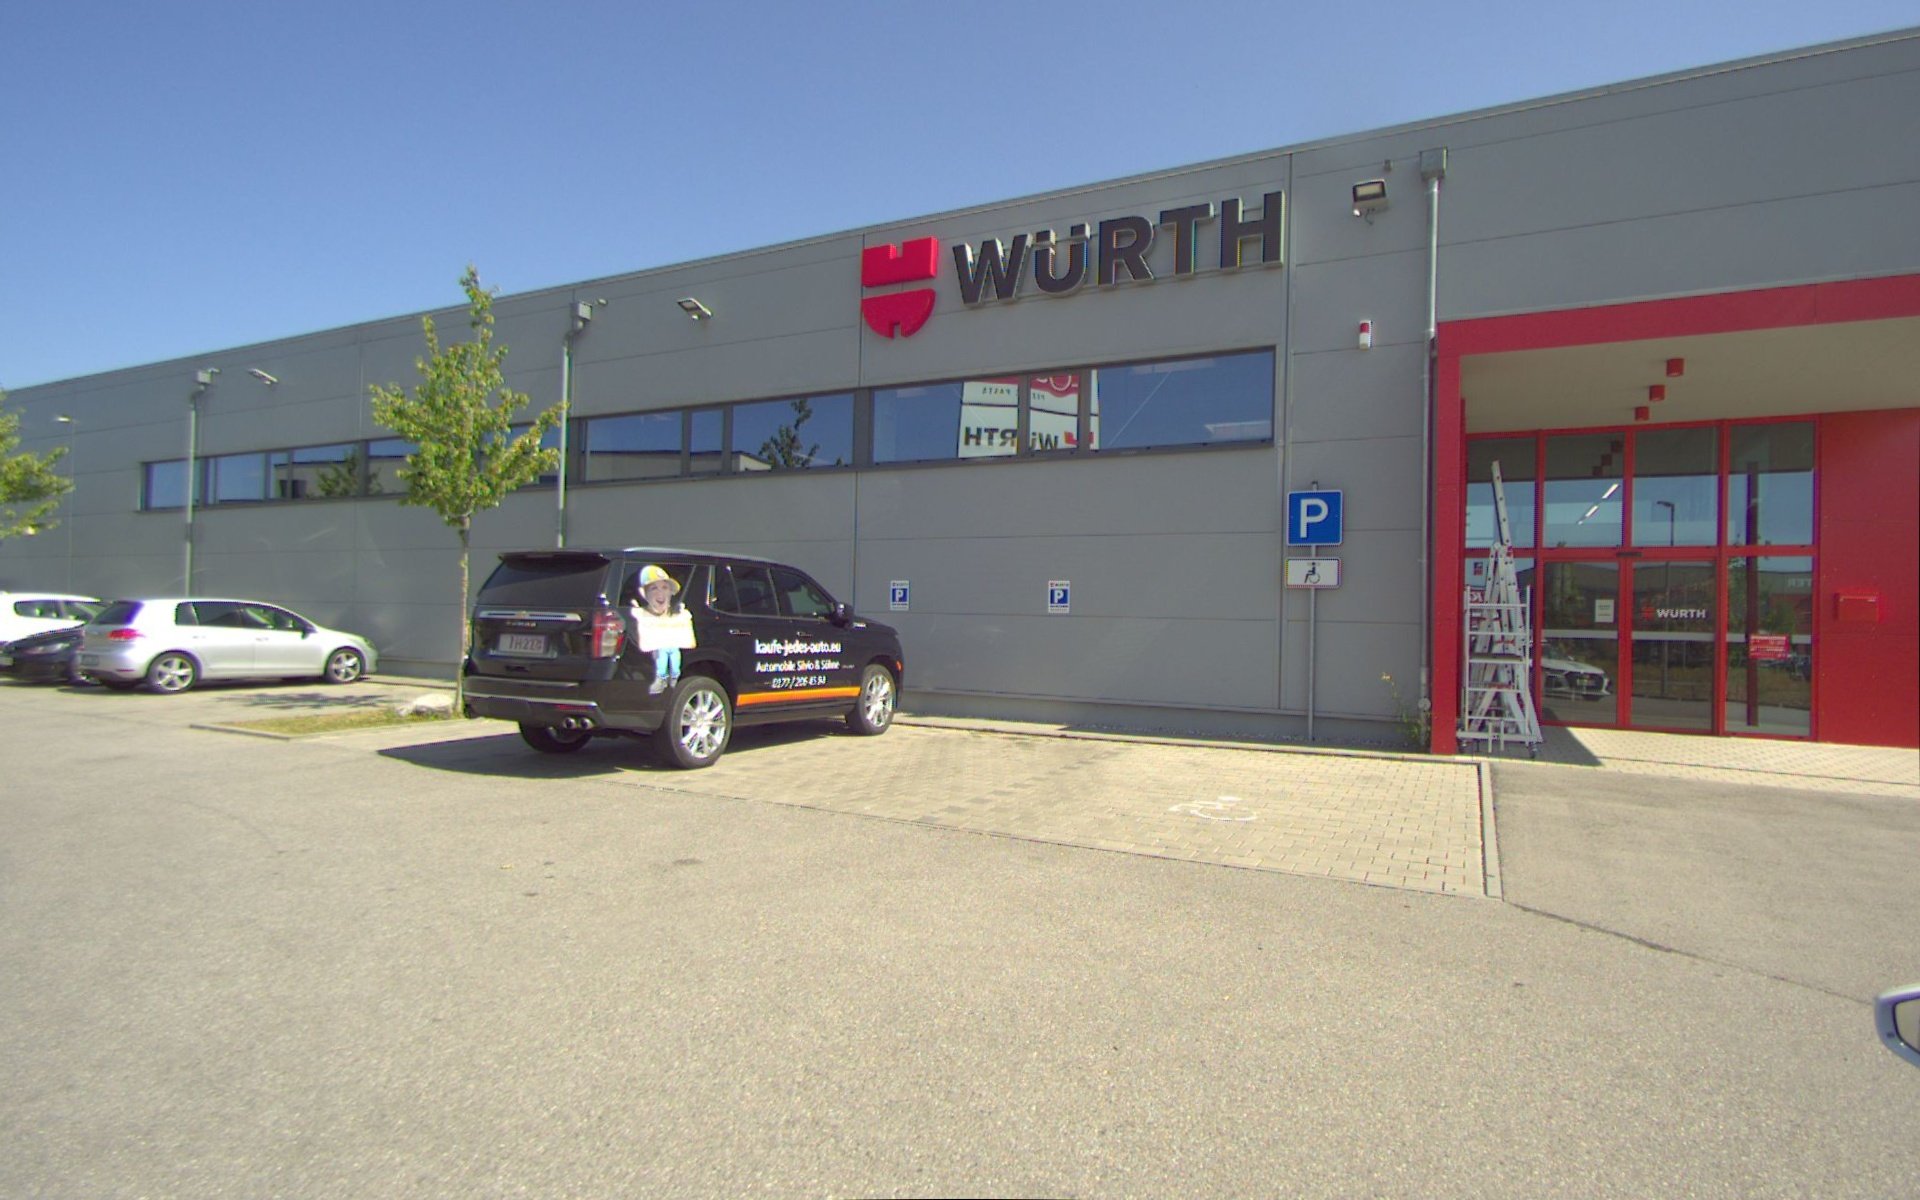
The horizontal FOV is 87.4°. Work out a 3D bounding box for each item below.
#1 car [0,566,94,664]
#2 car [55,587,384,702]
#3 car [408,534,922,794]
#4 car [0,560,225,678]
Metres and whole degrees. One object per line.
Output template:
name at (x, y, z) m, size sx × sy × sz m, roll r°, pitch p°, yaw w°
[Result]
car at (-21.019, 0.286, 20.970) m, size 1.963 × 2.040 × 3.994 m, roll 1°, pitch 0°, yaw 28°
car at (-11.976, 0.675, 16.540) m, size 1.749 × 1.638 × 3.994 m, roll 0°, pitch -1°, yaw 28°
car at (-2.575, 0.537, 10.467) m, size 1.994 × 1.964 × 5.374 m, roll 0°, pitch -1°, yaw 27°
car at (-16.895, 0.345, 19.316) m, size 1.962 × 2.040 × 3.997 m, roll 1°, pitch 0°, yaw 24°
